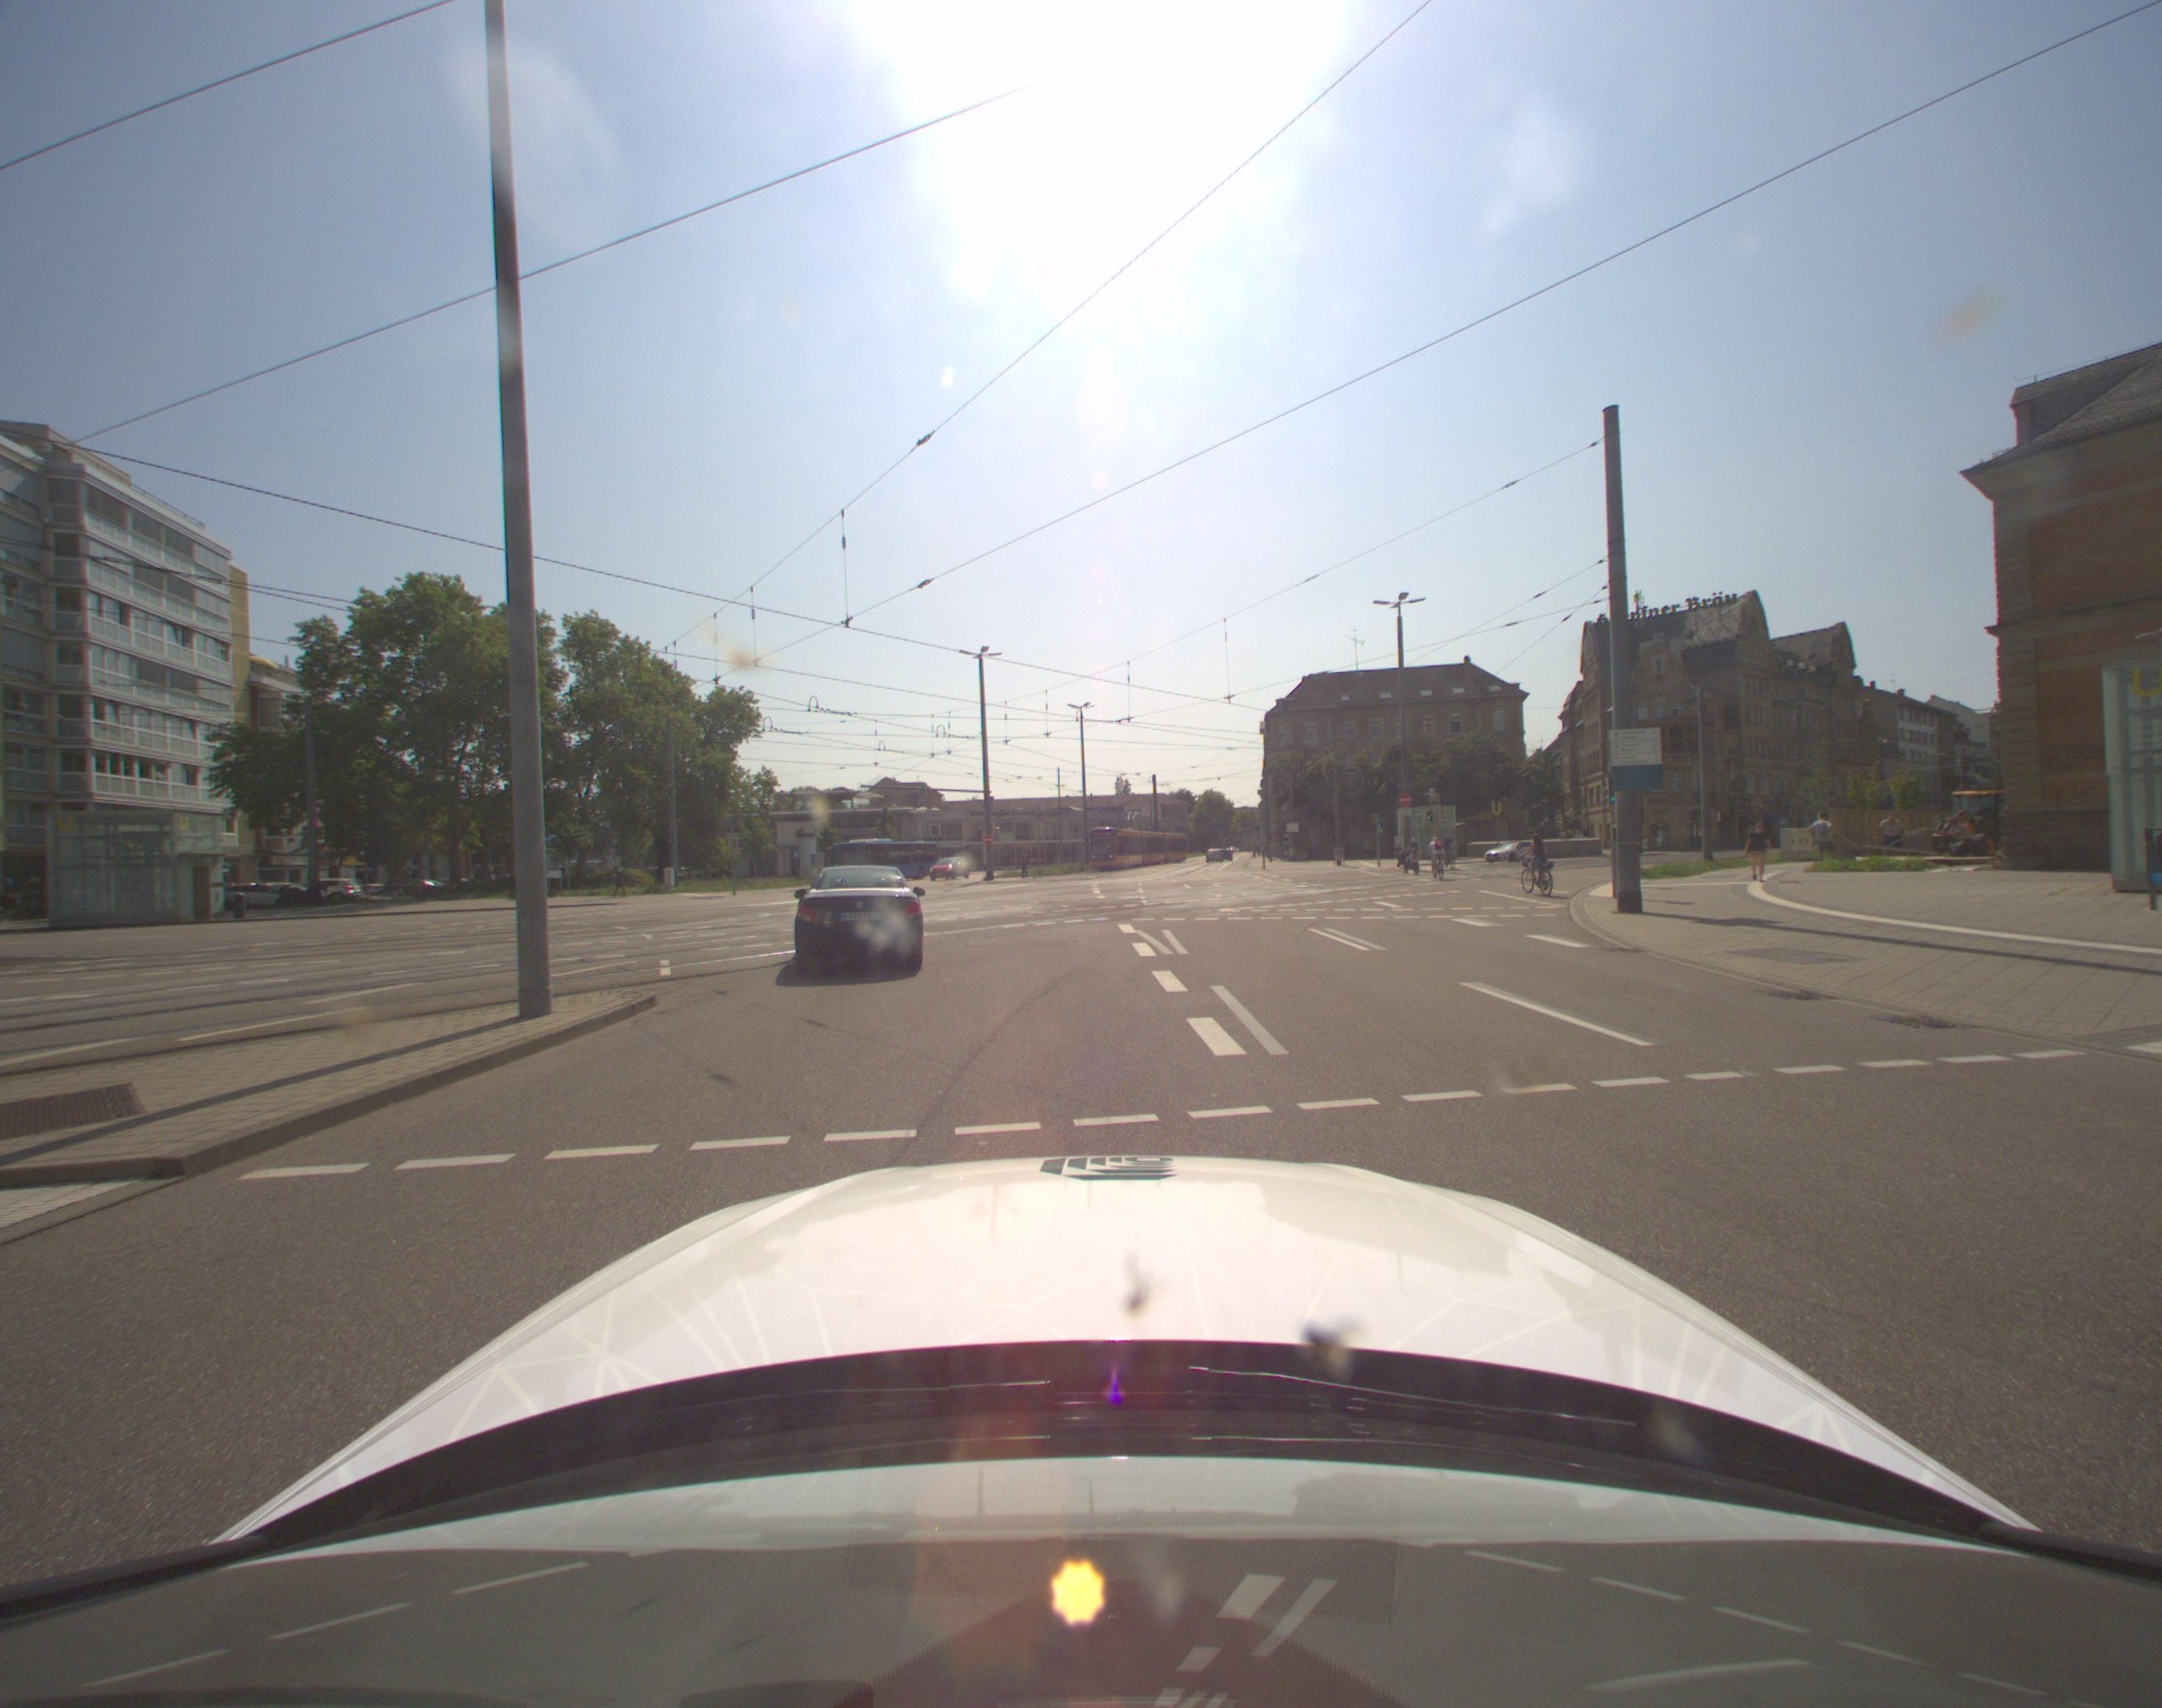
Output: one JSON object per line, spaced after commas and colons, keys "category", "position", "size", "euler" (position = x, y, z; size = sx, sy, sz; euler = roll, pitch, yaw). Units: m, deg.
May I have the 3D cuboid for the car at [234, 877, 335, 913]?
{"category": "car", "position": [-50.035, 2.526, 51.259], "size": [4.000, 2.013, 1.918], "euler": [-2, 0, -20]}

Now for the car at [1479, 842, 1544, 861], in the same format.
{"category": "car", "position": [29.276, -0.173, 55.379], "size": [4.010, 1.090, 1.982], "euler": [-2, 0, -28]}

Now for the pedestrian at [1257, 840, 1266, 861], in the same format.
{"category": "pedestrian", "position": [26.612, -0.475, 120.158], "size": [0.979, 3.017, 0.976], "euler": [-2, 0, 4]}

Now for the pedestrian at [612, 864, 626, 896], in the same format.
{"category": "pedestrian", "position": [-25.121, 1.396, 44.313], "size": [0.555, 1.684, 0.451], "euler": [-2, 0, -21]}

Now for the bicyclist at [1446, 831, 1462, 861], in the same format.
{"category": "bicyclist", "position": [19.613, -0.431, 42.837], "size": [0.607, 1.528, 0.523], "euler": [-2, 0, 15]}

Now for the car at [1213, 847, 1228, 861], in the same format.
{"category": "car", "position": [16.750, 0.028, 97.966], "size": [1.627, 1.618, 4.011], "euler": [-2, 0, 9]}

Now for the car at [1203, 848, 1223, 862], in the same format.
{"category": "car", "position": [14.451, 0.143, 89.015], "size": [1.757, 1.415, 4.205], "euler": [-2, 0, 14]}

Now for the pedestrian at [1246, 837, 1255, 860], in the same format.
{"category": "pedestrian", "position": [23.245, -0.775, 111.660], "size": [0.979, 3.017, 0.975], "euler": [-2, 0, 3]}

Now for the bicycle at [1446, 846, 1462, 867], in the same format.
{"category": "bicycle", "position": [19.599, 0.117, 42.812], "size": [0.465, 1.055, 1.660], "euler": [-2, 0, 16]}

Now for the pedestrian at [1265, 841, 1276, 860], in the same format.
{"category": "pedestrian", "position": [17.028, -0.305, 73.091], "size": [0.700, 1.603, 0.571], "euler": [-2, 0, -11]}

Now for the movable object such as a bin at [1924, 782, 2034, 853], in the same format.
{"category": "movable object such as a bin", "position": [32.279, -1.206, 29.217], "size": [5.581, 2.311, 1.941], "euler": [0, -1, -35]}

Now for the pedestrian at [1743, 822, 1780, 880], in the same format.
{"category": "pedestrian", "position": [18.952, -0.092, 22.674], "size": [0.729, 1.575, 0.795], "euler": [-2, 0, 41]}

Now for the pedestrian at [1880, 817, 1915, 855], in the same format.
{"category": "pedestrian", "position": [27.533, -0.603, 27.460], "size": [0.659, 1.214, 0.530], "euler": [-2, 0, 25]}

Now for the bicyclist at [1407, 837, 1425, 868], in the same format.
{"category": "bicyclist", "position": [15.305, -0.068, 37.201], "size": [0.527, 1.393, 0.896], "euler": [-2, 0, 9]}

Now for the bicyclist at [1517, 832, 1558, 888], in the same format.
{"category": "bicyclist", "position": [12.681, 0.165, 22.634], "size": [0.731, 1.517, 0.664], "euler": [-2, 0, 1]}

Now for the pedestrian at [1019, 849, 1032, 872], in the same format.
{"category": "pedestrian", "position": [-3.545, 0.419, 52.216], "size": [0.679, 1.443, 0.363], "euler": [-2, 0, -20]}

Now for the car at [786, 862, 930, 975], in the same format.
{"category": "car", "position": [-3.197, 0.827, 12.275], "size": [1.766, 1.388, 3.766], "euler": [0, 0, -11]}

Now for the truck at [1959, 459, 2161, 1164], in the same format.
{"category": "truck", "position": [6.090, -0.227, 0.999], "size": [2.485, 3.134, 6.858], "euler": [-2, 0, -1]}

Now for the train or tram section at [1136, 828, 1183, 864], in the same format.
{"category": "train or tram section", "position": [8.686, -0.885, 88.270], "size": [2.568, 3.516, 13.028], "euler": [-2, 0, 16]}

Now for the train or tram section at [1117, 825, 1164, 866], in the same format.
{"category": "train or tram section", "position": [5.807, -0.801, 77.778], "size": [2.569, 3.516, 9.698], "euler": [-2, 0, 15]}

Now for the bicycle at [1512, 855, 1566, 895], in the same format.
{"category": "bicycle", "position": [12.677, 0.553, 22.617], "size": [0.490, 1.055, 1.823], "euler": [-2, 0, 2]}

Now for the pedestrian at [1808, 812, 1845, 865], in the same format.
{"category": "pedestrian", "position": [24.438, -0.501, 26.711], "size": [0.550, 1.724, 0.811], "euler": [-2, 0, -44]}

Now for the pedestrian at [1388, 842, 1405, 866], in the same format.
{"category": "pedestrian", "position": [20.553, -0.018, 53.068], "size": [0.532, 1.545, 0.842], "euler": [-2, -1, -42]}

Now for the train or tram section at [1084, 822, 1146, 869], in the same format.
{"category": "train or tram section", "position": [3.026, -0.663, 67.932], "size": [2.568, 3.516, 10.945], "euler": [-2, 0, 16]}

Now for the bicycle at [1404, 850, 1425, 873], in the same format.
{"category": "bicycle", "position": [15.388, 0.336, 37.579], "size": [0.533, 1.055, 1.658], "euler": [-2, 0, 10]}

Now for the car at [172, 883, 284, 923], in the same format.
{"category": "car", "position": [-49.303, 2.791, 47.170], "size": [4.000, 2.013, 1.918], "euler": [-2, 0, -20]}

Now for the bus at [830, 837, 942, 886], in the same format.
{"category": "bus", "position": [-13.859, 0.458, 59.452], "size": [2.543, 3.082, 12.069], "euler": [-2, 0, 14]}

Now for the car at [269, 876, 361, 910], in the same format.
{"category": "car", "position": [-51.463, 2.589, 54.835], "size": [4.000, 2.013, 1.918], "euler": [-2, 0, -20]}

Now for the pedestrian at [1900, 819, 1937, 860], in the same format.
{"category": "pedestrian", "position": [29.025, -0.506, 28.236], "size": [0.769, 1.399, 0.686], "euler": [-2, 0, -28]}

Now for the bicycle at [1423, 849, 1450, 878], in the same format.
{"category": "bicycle", "position": [13.564, 0.357, 31.077], "size": [0.533, 1.055, 1.658], "euler": [-2, 0, 10]}

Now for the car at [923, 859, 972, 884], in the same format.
{"category": "car", "position": [-9.202, 1.173, 56.489], "size": [1.736, 1.552, 4.017], "euler": [-2, 0, 15]}

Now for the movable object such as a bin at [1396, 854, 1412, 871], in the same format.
{"category": "movable object such as a bin", "position": [20.705, 0.526, 52.199], "size": [0.805, 1.077, 0.515], "euler": [-3, -1, 43]}

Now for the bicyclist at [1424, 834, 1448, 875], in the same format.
{"category": "bicyclist", "position": [13.491, 0.021, 30.940], "size": [0.624, 1.517, 0.714], "euler": [-2, 0, 9]}
